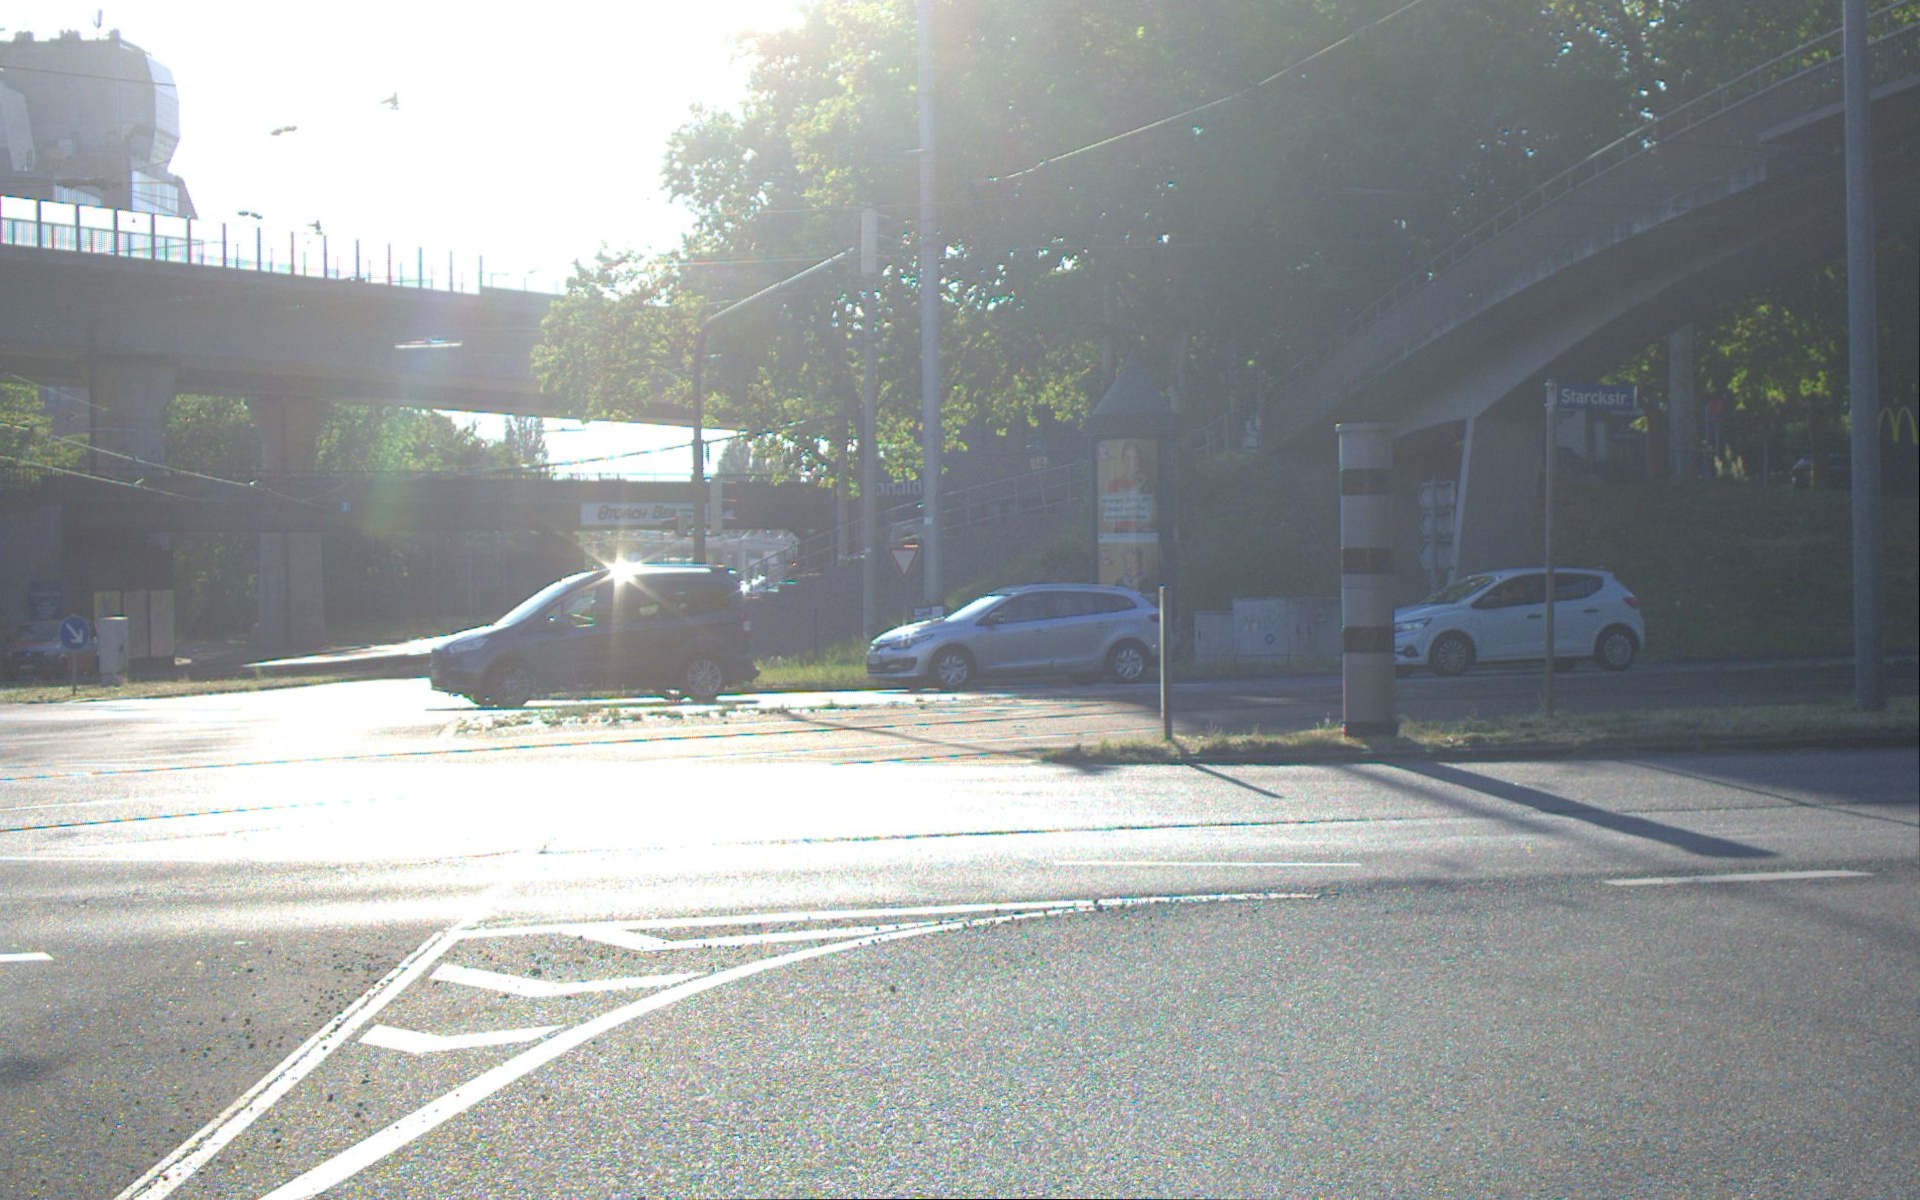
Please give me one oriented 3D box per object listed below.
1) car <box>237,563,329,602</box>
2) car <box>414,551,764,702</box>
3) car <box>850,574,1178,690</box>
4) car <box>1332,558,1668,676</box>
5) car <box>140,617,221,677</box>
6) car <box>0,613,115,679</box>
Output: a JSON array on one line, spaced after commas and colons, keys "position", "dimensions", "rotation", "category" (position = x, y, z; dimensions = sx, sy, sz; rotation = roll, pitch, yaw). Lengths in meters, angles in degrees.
[{"position": [-31.338, -0.817, 159.203], "dimensions": [1.997, 1.765, 3.993], "rotation": [0, 0, 31], "category": "car"}, {"position": [-4.759, 0.319, 44.043], "dimensions": [4.131, 1.861, 1.857], "rotation": [0, 0, -20], "category": "car"}, {"position": [0.769, 0.444, 49.601], "dimensions": [4.355, 1.603, 1.857], "rotation": [0, 0, -19], "category": "car"}, {"position": [7.573, 0.221, 48.267], "dimensions": [4.292, 1.603, 1.857], "rotation": [0, 0, -19], "category": "car"}, {"position": [-22.178, 1.317, 97.932], "dimensions": [1.711, 1.647, 4.096], "rotation": [0, 0, -5], "category": "car"}, {"position": [-29.468, 1.491, 112.340], "dimensions": [1.994, 2.007, 5.425], "rotation": [-1, 0, 4], "category": "car"}]
